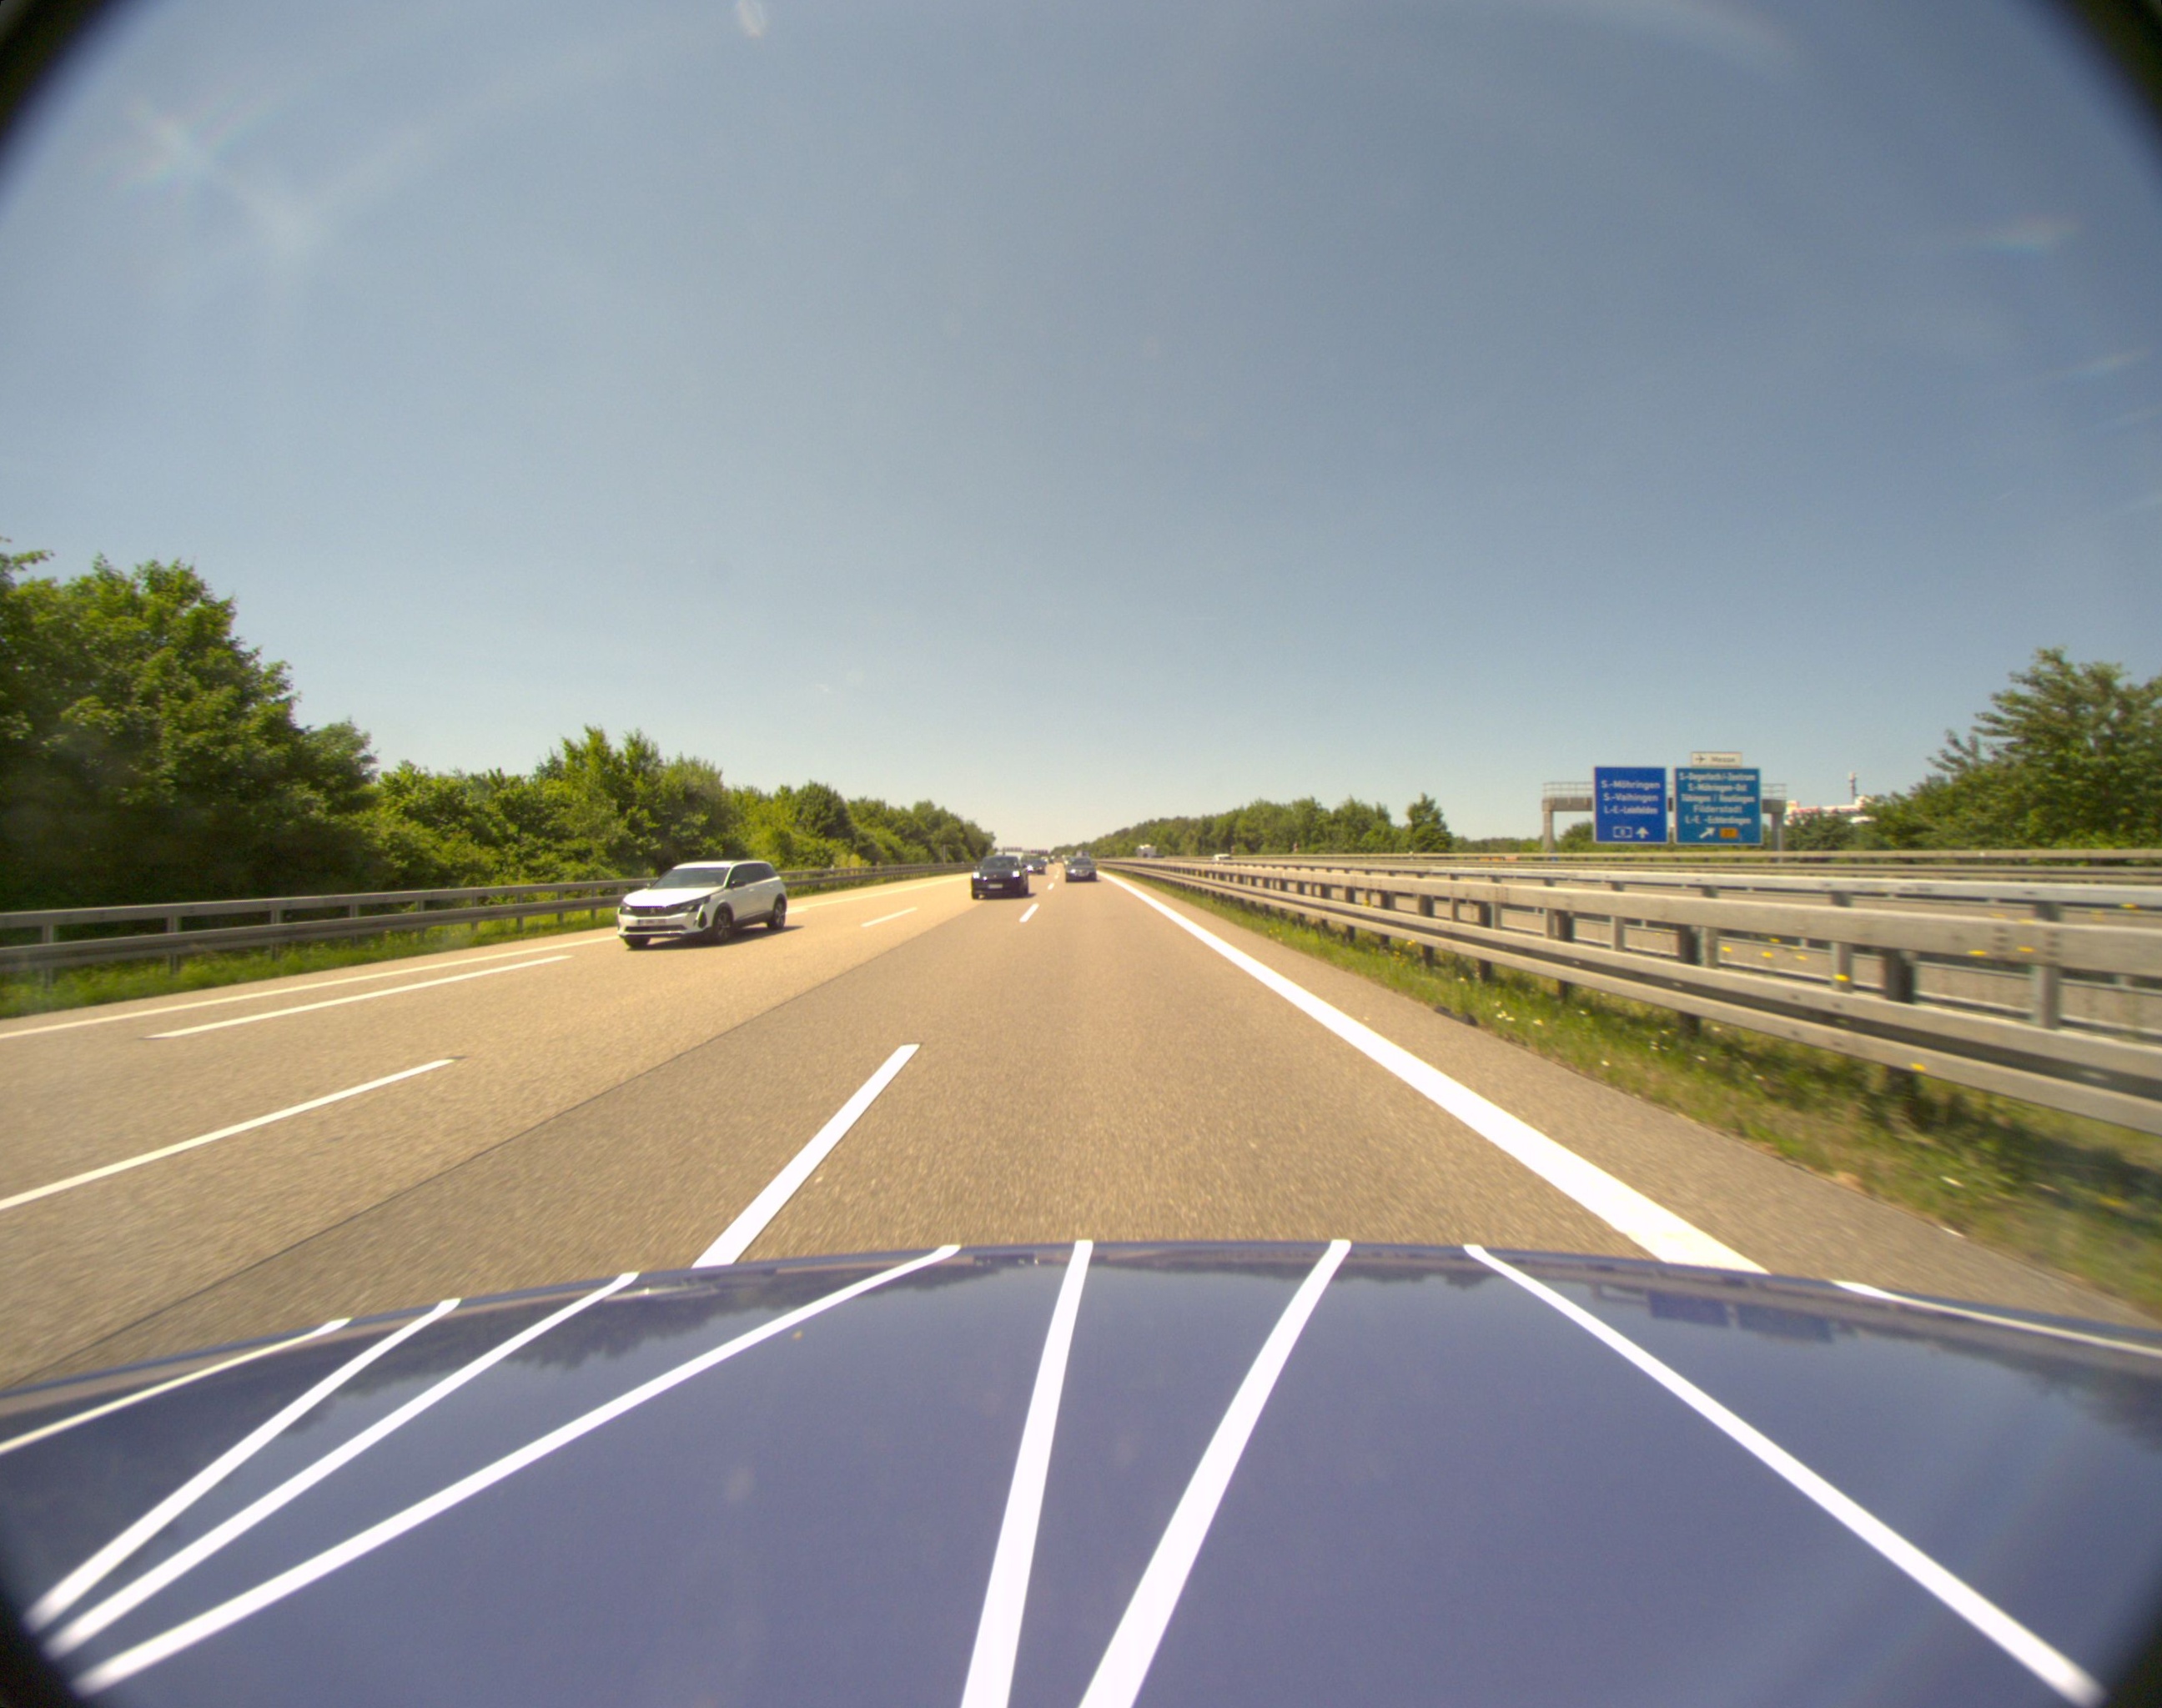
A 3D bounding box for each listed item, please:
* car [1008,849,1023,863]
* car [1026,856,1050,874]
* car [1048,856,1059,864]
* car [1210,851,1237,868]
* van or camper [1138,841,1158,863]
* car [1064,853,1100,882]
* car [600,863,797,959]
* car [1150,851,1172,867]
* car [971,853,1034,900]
[{"bbox_3d":[-9.153,0.255,106.853,1.809,1.908,4.293,-2,1,-3],"label":"car"},{"bbox_3d":[-3.725,0.945,66.335,1.931,1.390,4.117,-2,1,-1],"label":"car"},{"bbox_3d":[-6.774,1.415,187.304,2.000,1.849,3.996,-2,1,-10],"label":"car"},{"bbox_3d":[12.686,0.487,67.910,1.753,1.377,4.098,-1,0,2],"label":"car"},{"bbox_3d":[10.198,-0.286,116.543,2.319,3.292,6.831,-2,0,0],"label":"van or camper"},{"bbox_3d":[0.102,0.762,44.664,1.931,1.499,4.391,-2,1,2],"label":"car"},{"bbox_3d":[-7.786,1.063,16.057,1.748,1.582,4.619,-2,1,0],"label":"car"},{"bbox_3d":[8.431,0.472,80.647,1.753,1.577,4.690,-1,0,0],"label":"car"},{"bbox_3d":[-2.972,0.806,29.598,1.931,1.586,4.131,-2,1,0],"label":"car"}]
